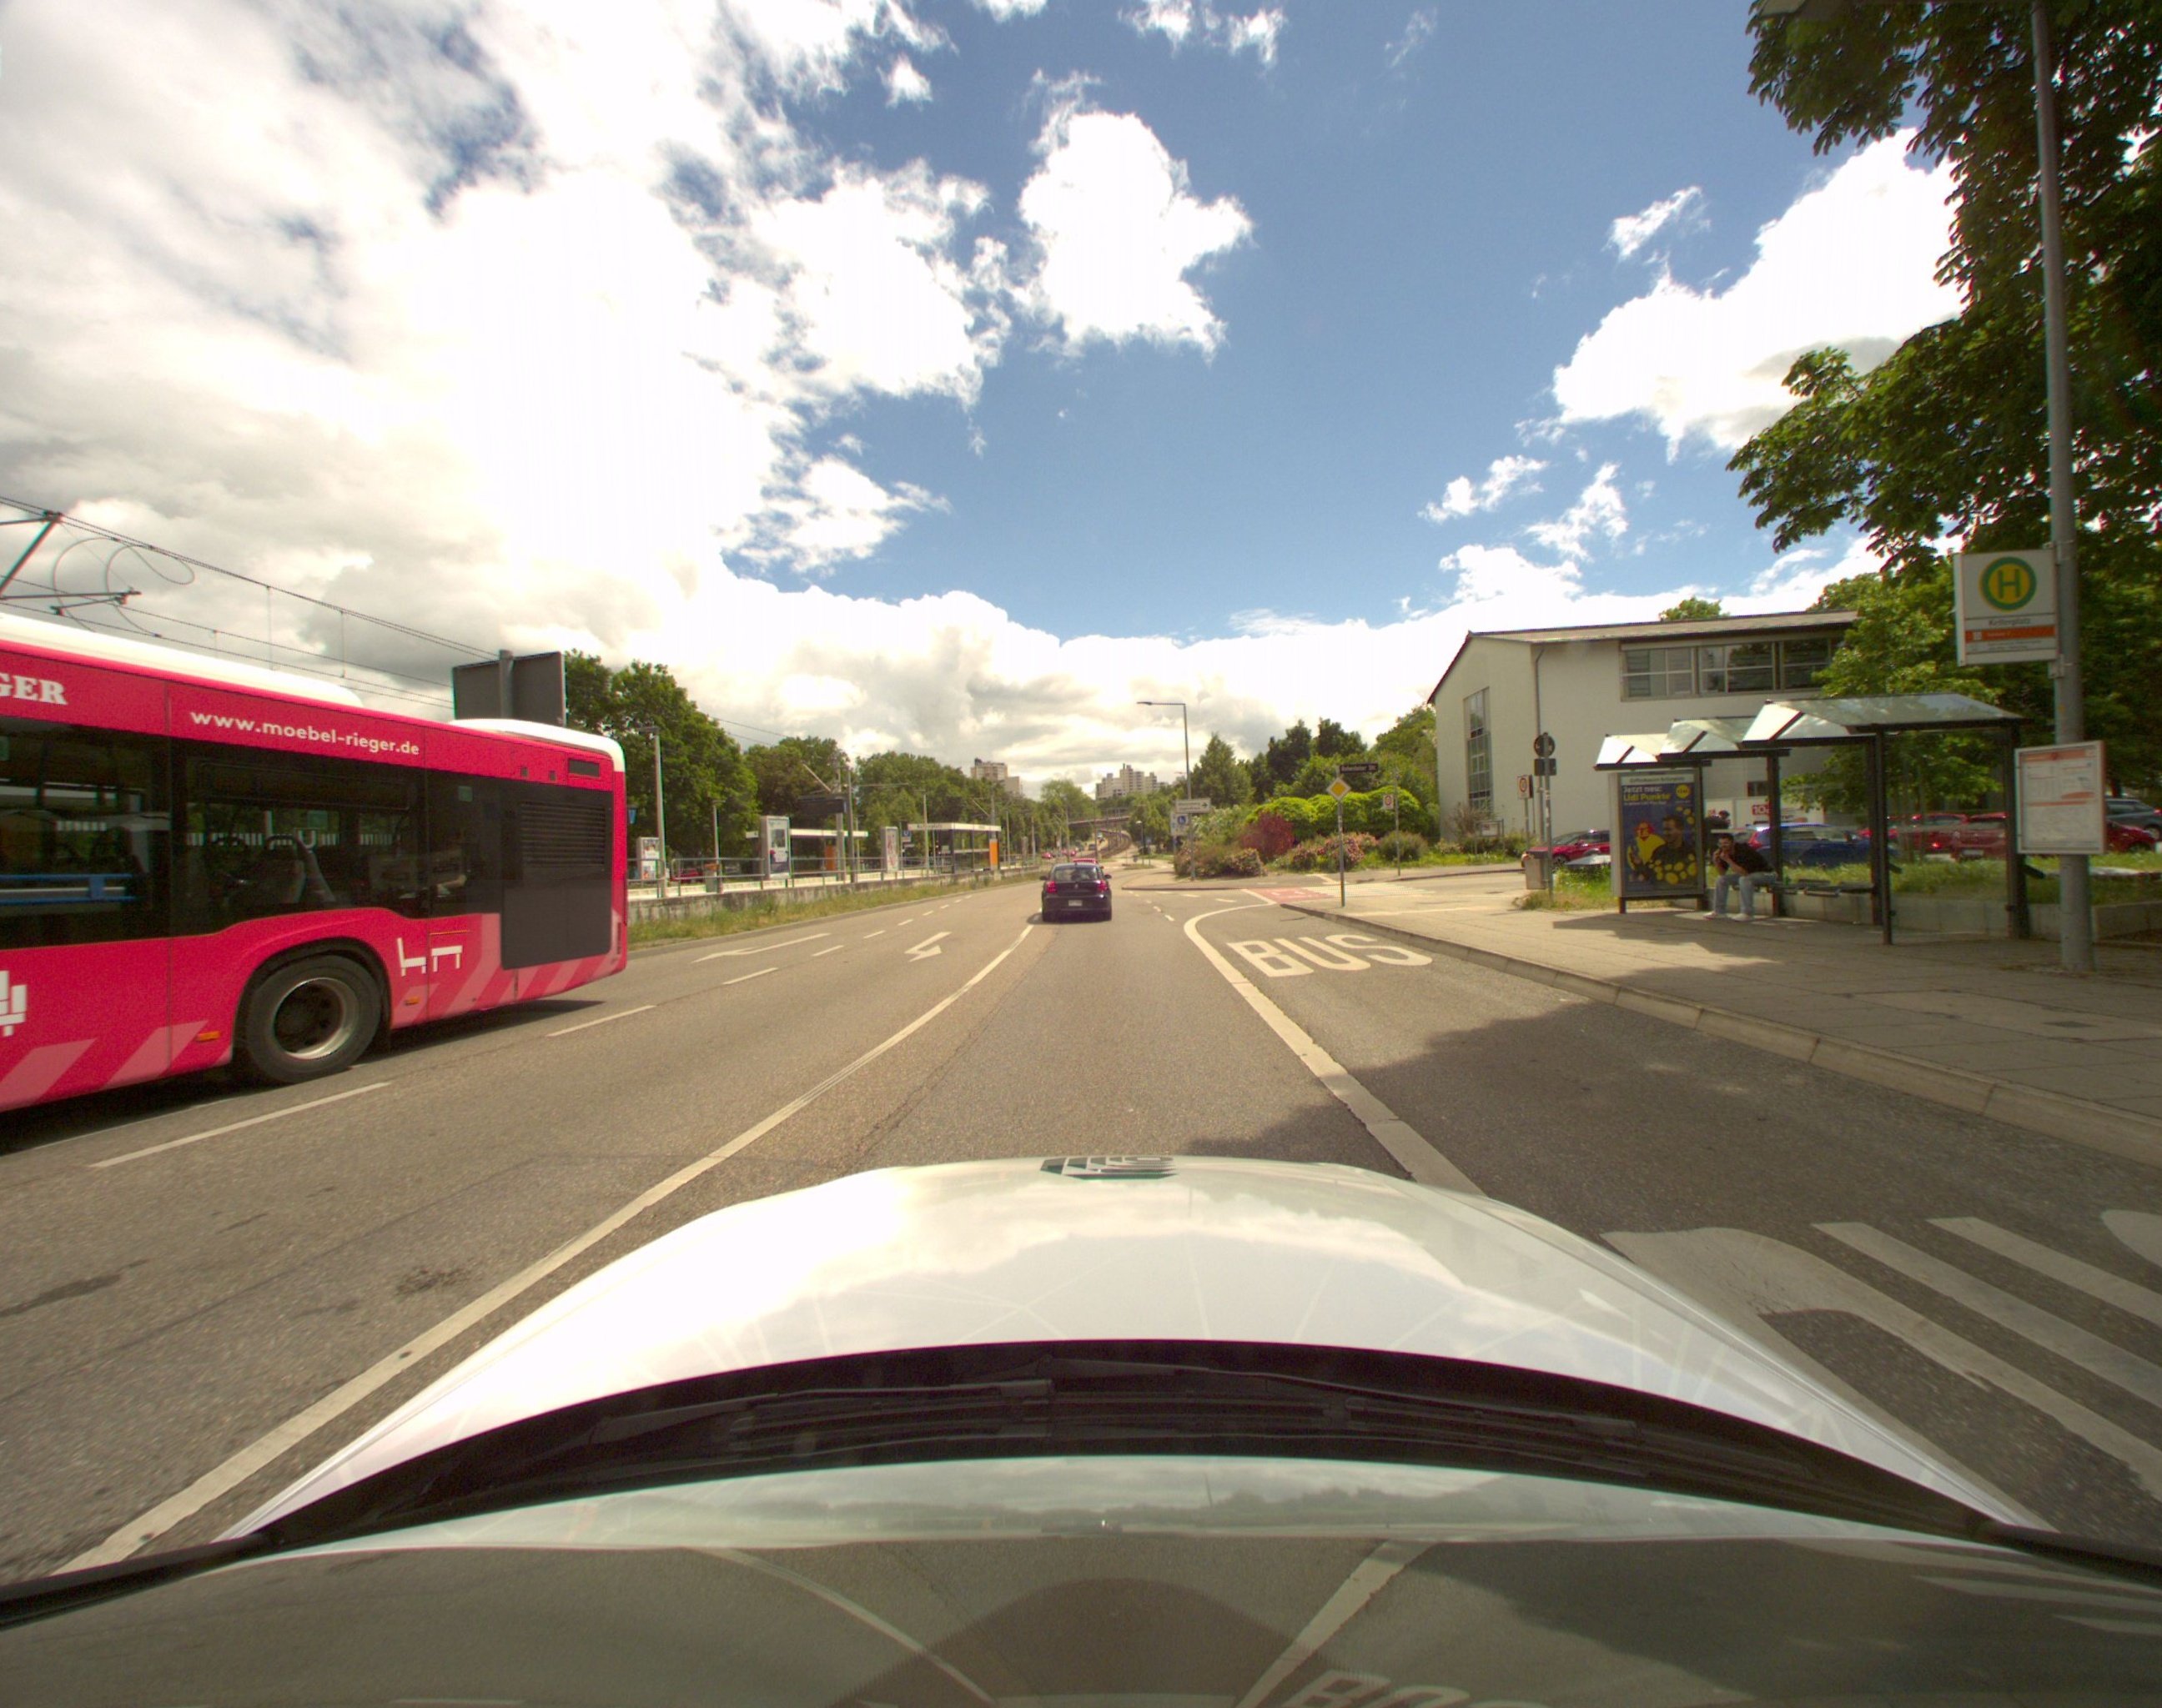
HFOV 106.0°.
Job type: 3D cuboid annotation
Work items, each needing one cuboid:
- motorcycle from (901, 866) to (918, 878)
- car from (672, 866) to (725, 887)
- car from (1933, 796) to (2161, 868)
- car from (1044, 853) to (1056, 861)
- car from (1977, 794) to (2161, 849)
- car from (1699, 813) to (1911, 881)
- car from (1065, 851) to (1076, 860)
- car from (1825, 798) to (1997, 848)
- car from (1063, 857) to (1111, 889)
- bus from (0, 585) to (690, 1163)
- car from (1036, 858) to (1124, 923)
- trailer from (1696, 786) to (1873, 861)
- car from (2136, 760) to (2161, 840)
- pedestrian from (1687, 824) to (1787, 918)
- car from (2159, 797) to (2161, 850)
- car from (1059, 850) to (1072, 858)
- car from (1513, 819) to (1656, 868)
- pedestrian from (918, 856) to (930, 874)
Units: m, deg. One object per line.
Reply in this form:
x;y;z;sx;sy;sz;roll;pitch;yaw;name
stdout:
-17.486;1.805;82.866;0.724;1.081;2.224;-2;0;14;motorcycle
-35.675;2.086;75.990;3.966;1.684;1.978;-2;1;6;car
24.978;-0.556;21.131;3.669;1.643;1.832;-2;1;4;car
-5.673;0.491;148.869;1.520;1.370;3.605;-2;0;7;car
35.411;-1.128;29.272;3.964;1.723;1.913;-3;0;8;car
18.979;-0.186;21.509;3.776;1.456;1.899;-4;1;4;car
-2.055;0.267;157.742;1.711;1.503;2.972;-2;1;6;car
30.287;-1.115;29.825;4.061;1.502;2.003;-4;1;5;car
0.332;0.903;40.006;1.755;1.432;3.487;-3;-1;9;car
-6.890;0.147;5.895;2.711;3.070;8.983;-2;0;8;bus
0.077;0.878;21.096;1.806;1.421;4.006;-3;-1;6;car
25.951;-1.117;30.214;4.515;2.486;2.225;-2;1;5;trailer
41.752;-2.090;28.733;5.548;2.866;2.208;-3;0;6;car
9.231;0.234;11.489;0.822;1.259;0.688;-3;0;10;pedestrian
30.830;-0.838;20.677;4.061;1.559;2.002;-3;0;3;car
-3.202;0.010;169.797;1.901;1.561;4.011;-2;1;10;car
18.831;-0.420;30.589;4.140;1.561;2.001;-3;2;2;car
-18.254;1.299;94.684;0.951;2.013;0.827;-2;1;26;pedestrian
